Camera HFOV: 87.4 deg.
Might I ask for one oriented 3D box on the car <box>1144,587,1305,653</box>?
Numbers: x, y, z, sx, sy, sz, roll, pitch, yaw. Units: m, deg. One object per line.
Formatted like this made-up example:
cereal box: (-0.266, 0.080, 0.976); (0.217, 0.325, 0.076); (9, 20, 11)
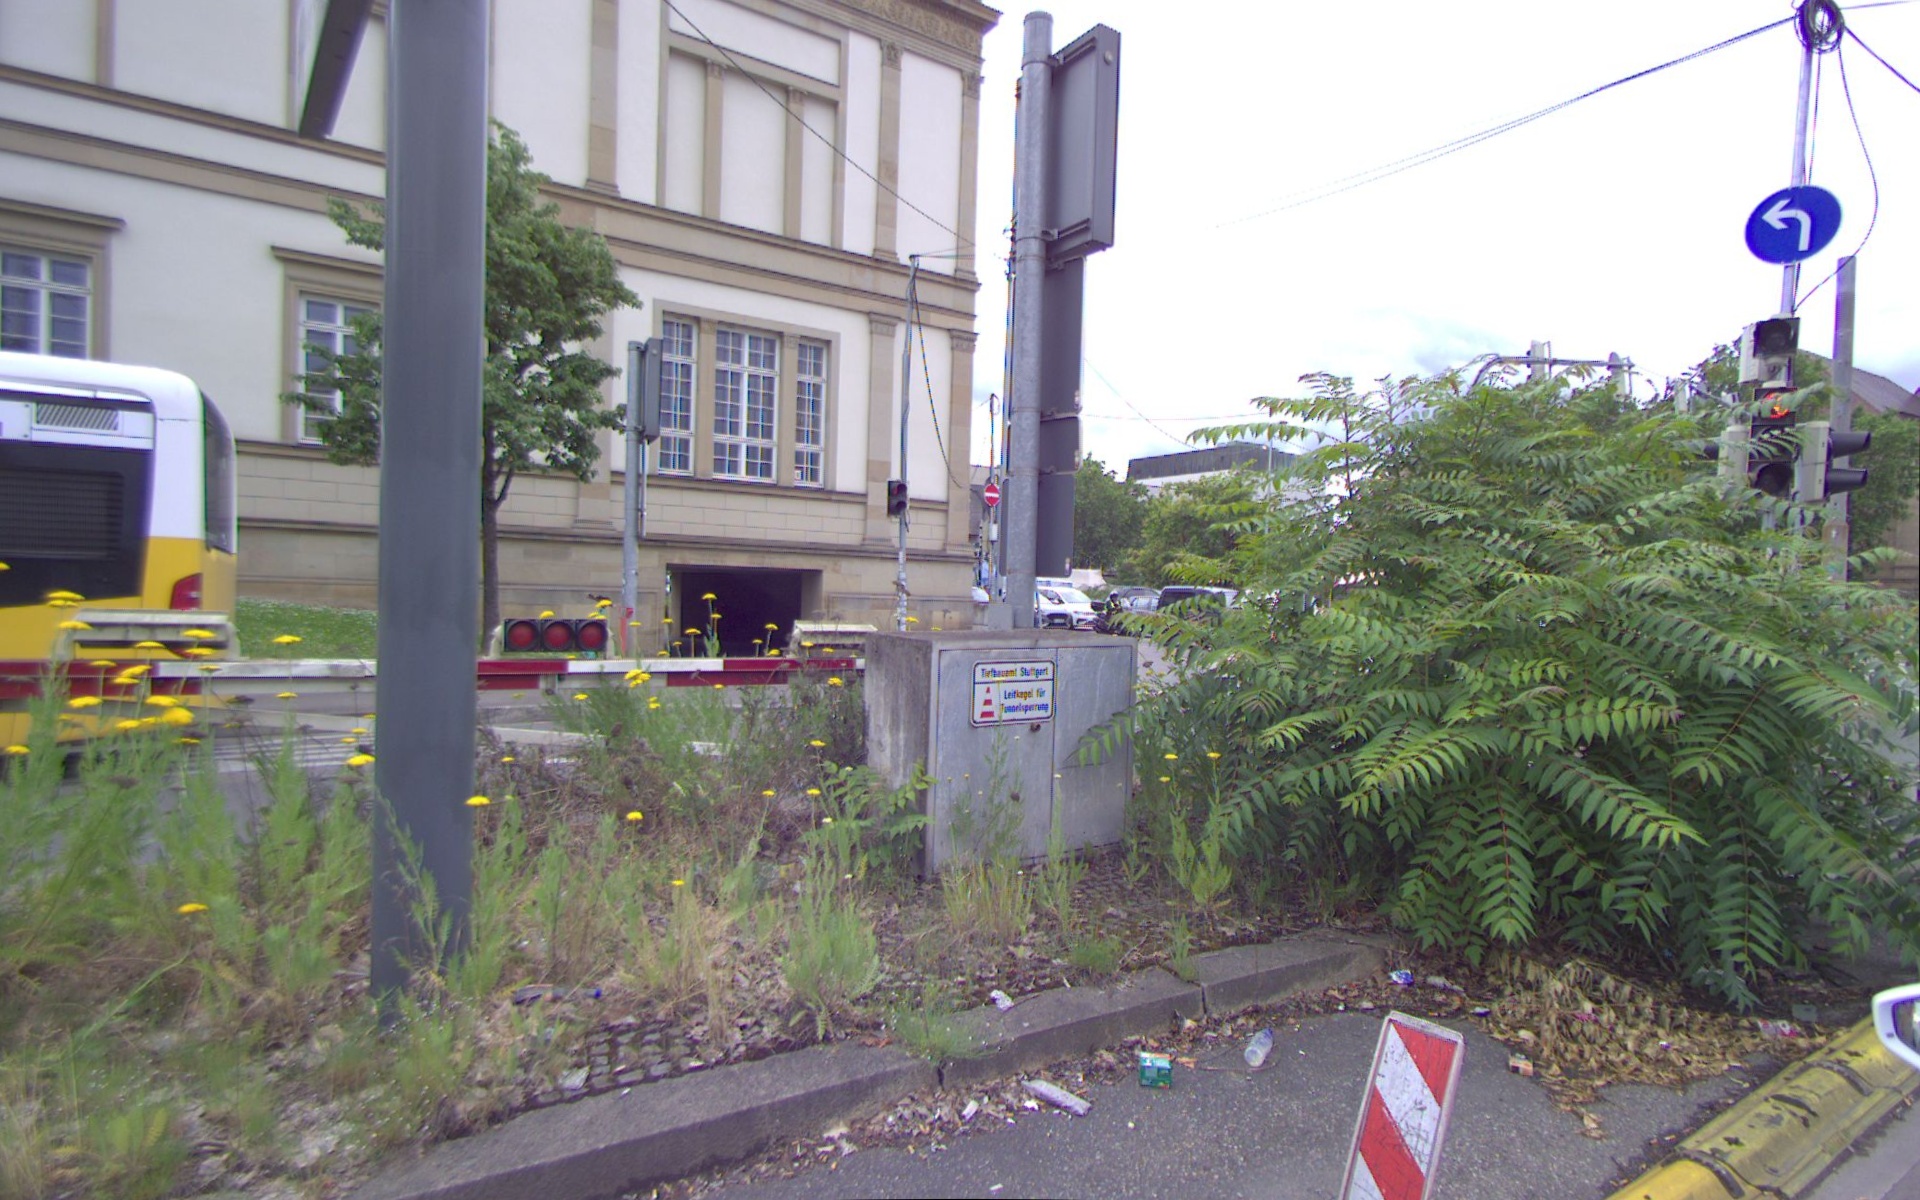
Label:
car: (7.598, 0.529, 29.217); (1.979, 1.698, 4.285); (1, 1, -34)

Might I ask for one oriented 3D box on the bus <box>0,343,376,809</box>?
bus: (-9.209, -0.229, 6.821); (9.017, 3.156, 2.831); (1, 1, -31)

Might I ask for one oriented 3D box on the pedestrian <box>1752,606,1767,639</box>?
pedestrian: (49.754, 1.379, 62.521); (0.516, 2.040, 0.428); (2, 1, 17)

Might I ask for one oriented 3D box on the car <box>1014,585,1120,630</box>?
car: (4.302, 0.276, 40.936); (1.979, 1.698, 4.285); (1, 1, -34)

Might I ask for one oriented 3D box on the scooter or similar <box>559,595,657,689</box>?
scooter or similar: (-4.936, 0.588, 14.143); (1.132, 1.190, 0.540); (6, 0, -10)

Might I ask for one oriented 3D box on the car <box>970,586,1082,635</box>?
car: (2.420, 0.355, 37.783); (1.979, 1.698, 4.285); (1, 1, -34)

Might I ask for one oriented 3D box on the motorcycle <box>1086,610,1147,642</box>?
motorcycle: (5.078, 0.839, 32.661); (0.749, 0.937, 2.042); (1, 1, -35)

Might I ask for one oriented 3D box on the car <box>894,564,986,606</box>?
car: (-0.934, -0.662, 43.693); (1.979, 1.698, 4.285); (1, 1, -34)

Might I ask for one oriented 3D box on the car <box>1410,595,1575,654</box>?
car: (17.136, 0.743, 32.457); (1.986, 1.698, 4.271); (1, 1, -43)

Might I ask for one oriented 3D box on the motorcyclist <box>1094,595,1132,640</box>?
motorcyclist: (4.999, 0.565, 32.774); (0.738, 1.442, 0.959); (1, 1, -35)
